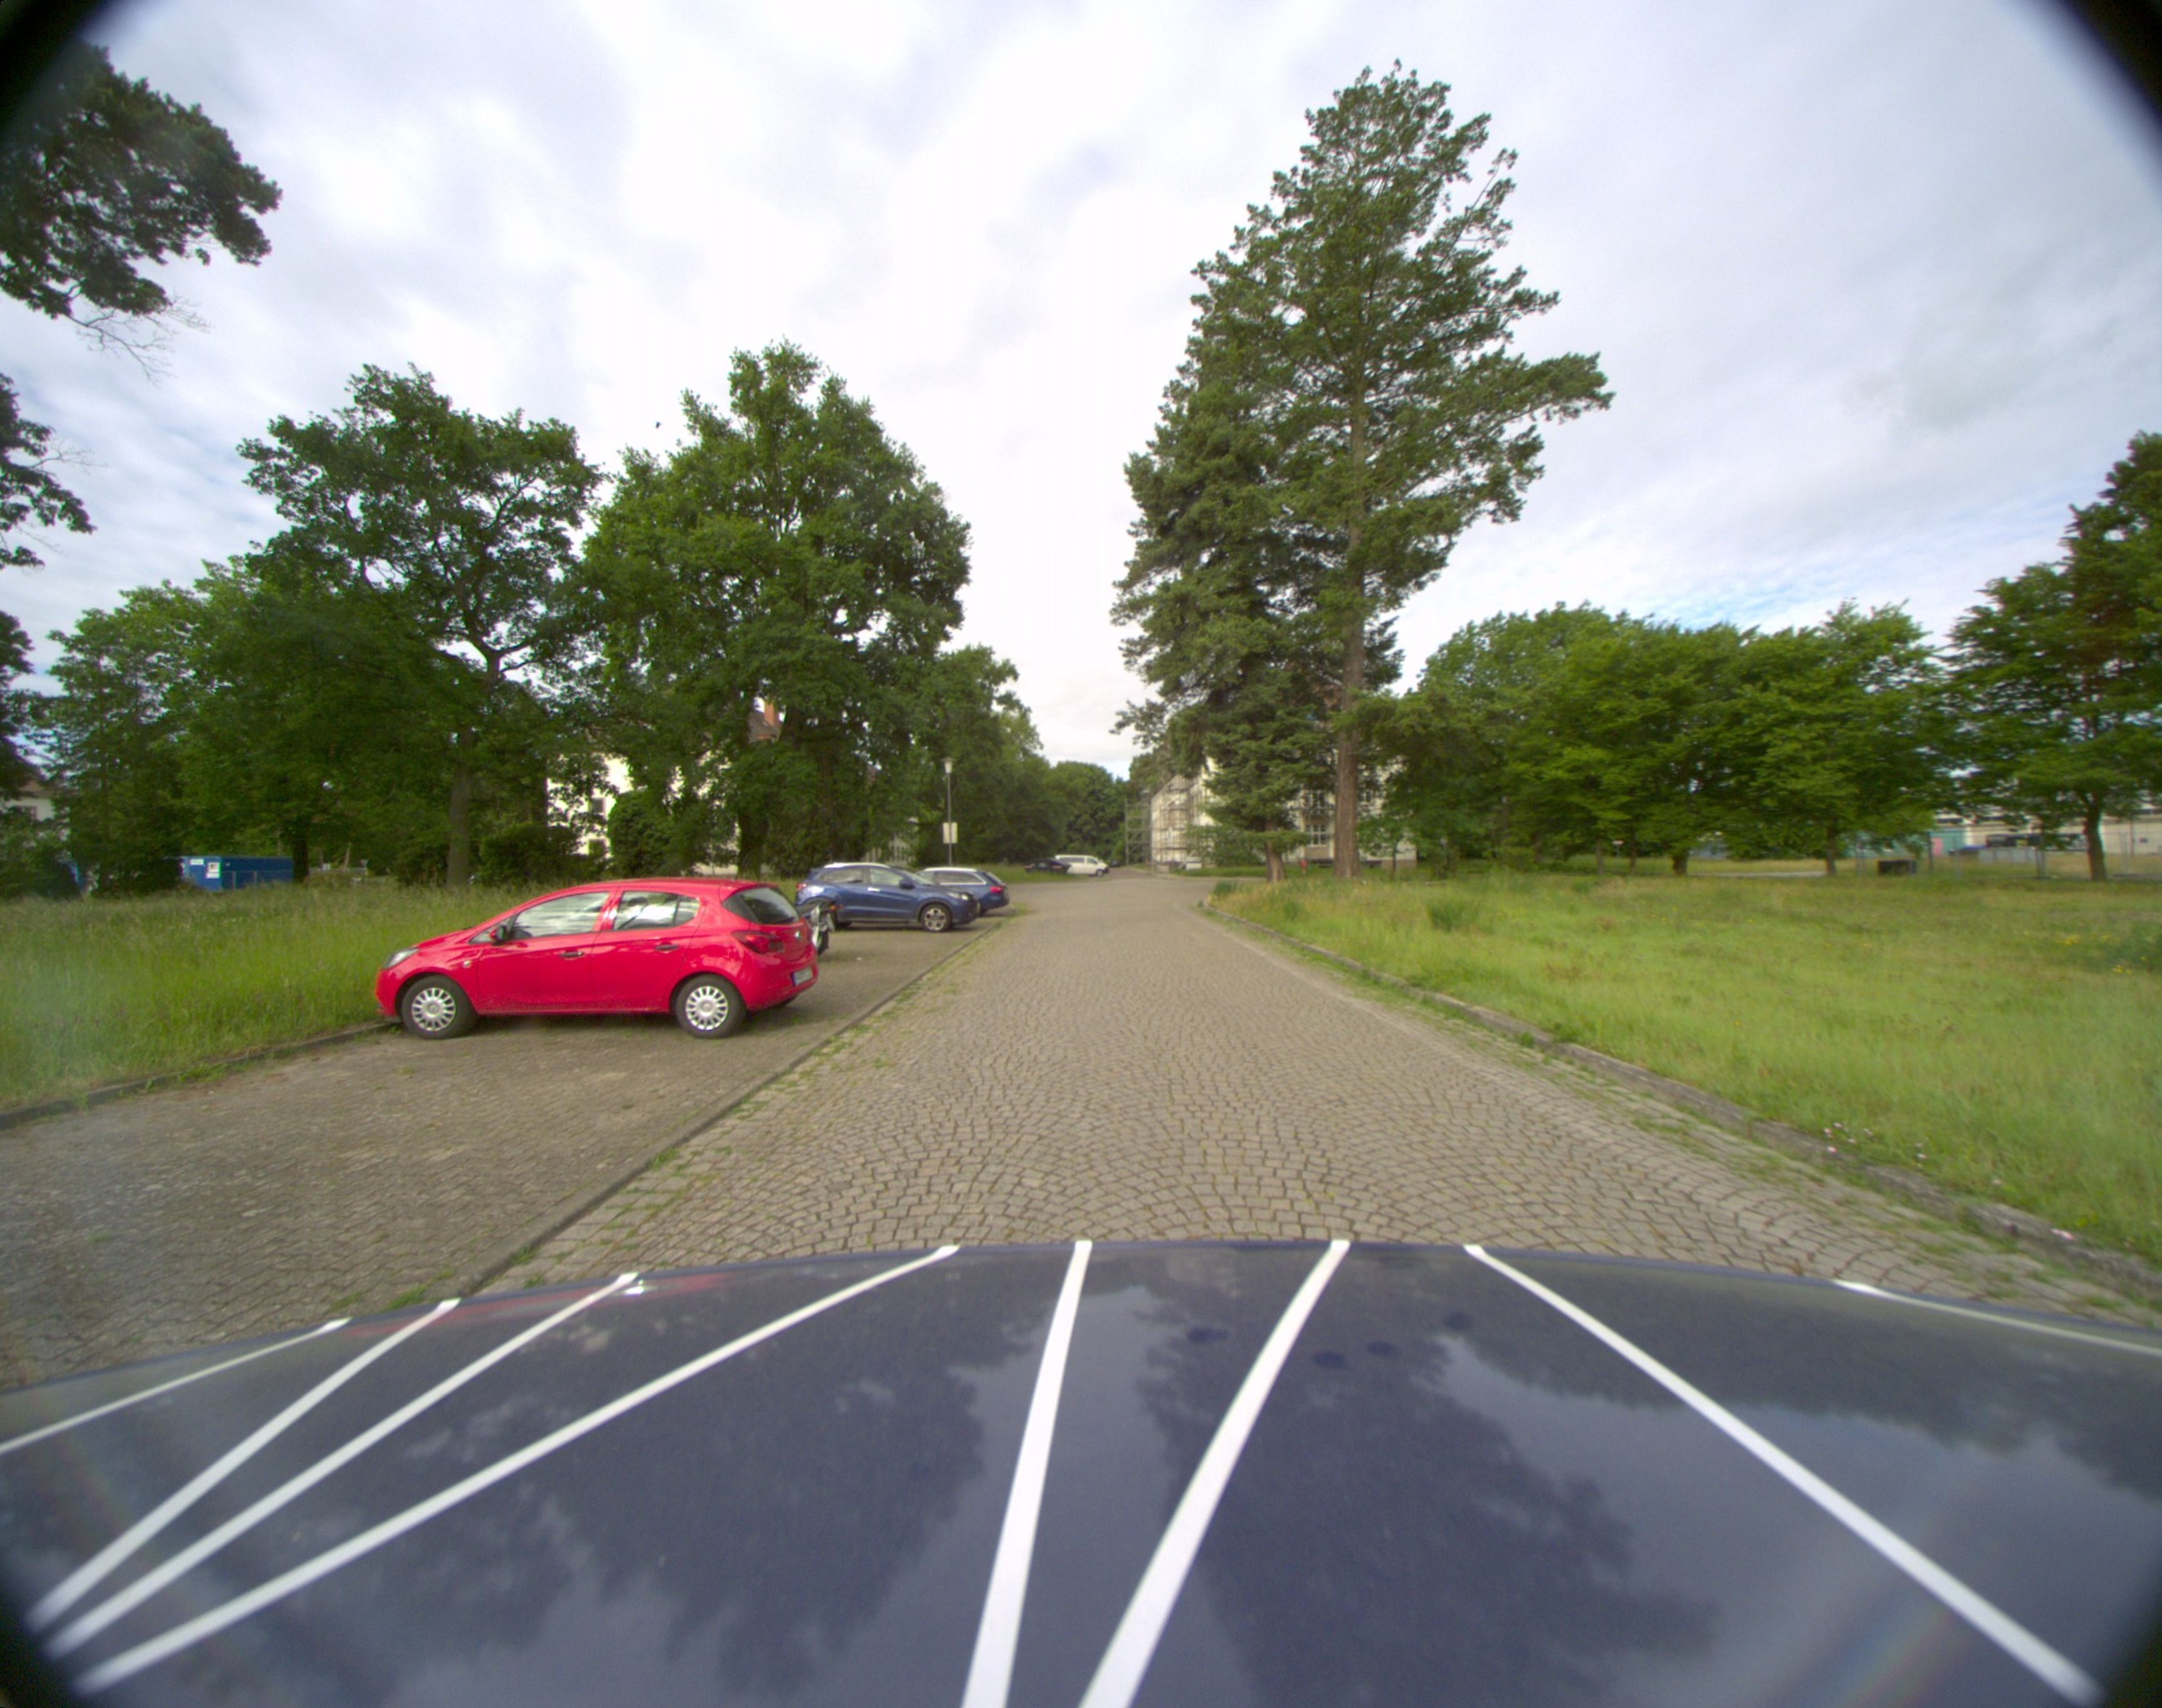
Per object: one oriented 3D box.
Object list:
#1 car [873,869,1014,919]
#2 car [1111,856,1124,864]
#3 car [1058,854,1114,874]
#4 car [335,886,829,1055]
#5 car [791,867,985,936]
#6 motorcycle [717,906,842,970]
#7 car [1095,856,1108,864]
[{"bbox_3d":[-4.011,1.157,22.528,3.877,1.417,1.582,0,0,0],"label":"car"},{"bbox_3d":[6.637,1.001,138.163,1.870,1.408,4.695,1,0,-3],"label":"car"},{"bbox_3d":[0.440,0.926,71.278,5.141,1.860,1.723,0,0,0],"label":"car"},{"bbox_3d":[-4.750,1.088,7.633,3.894,1.451,1.582,0,0,0],"label":"car"},{"bbox_3d":[-4.435,1.078,17.873,4.150,1.529,1.582,0,0,0],"label":"car"},{"bbox_3d":[-4.757,1.317,12.066,1.745,0.951,0.614,0,0,-5],"label":"motorcycle"},{"bbox_3d":[3.743,1.099,137.659,1.870,1.408,4.695,1,0,-3],"label":"car"}]
